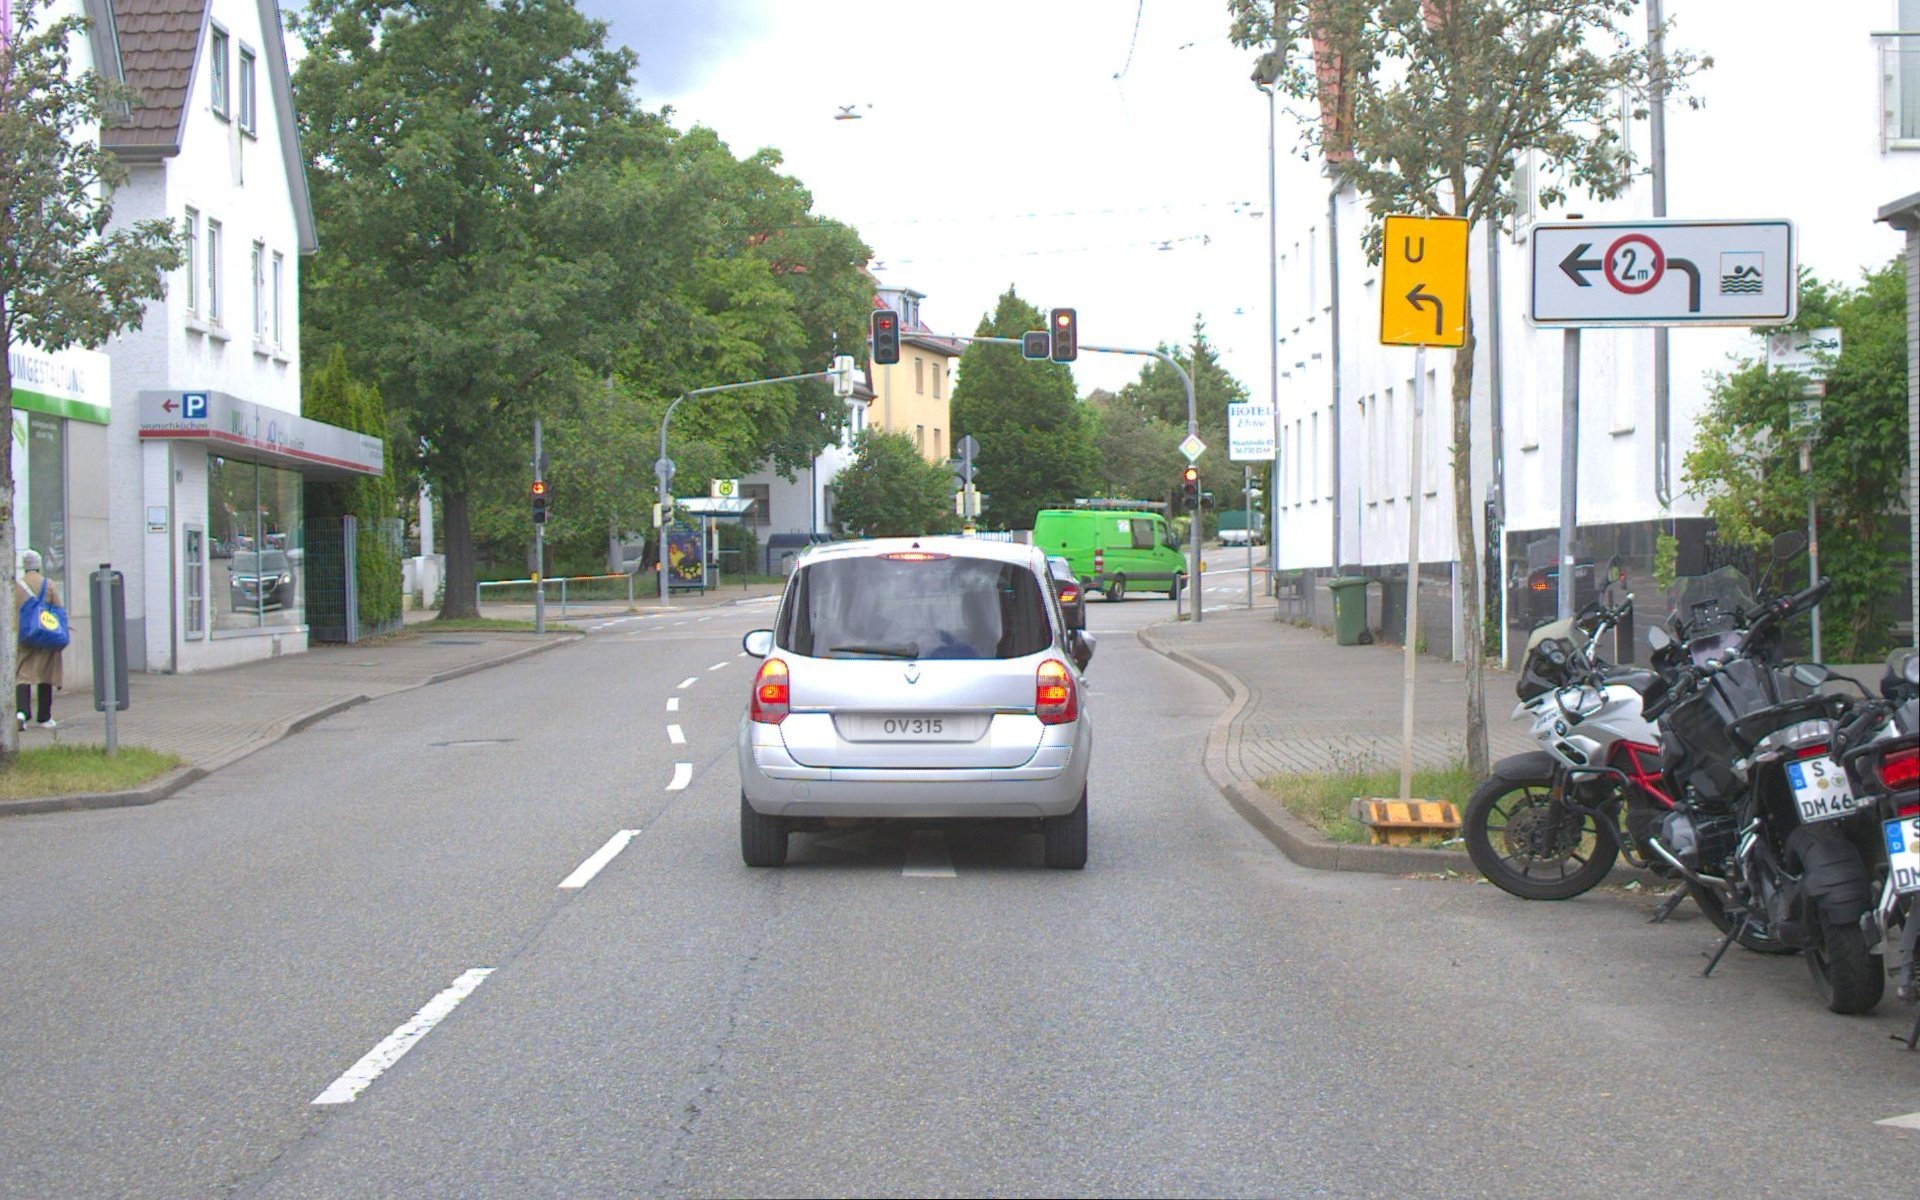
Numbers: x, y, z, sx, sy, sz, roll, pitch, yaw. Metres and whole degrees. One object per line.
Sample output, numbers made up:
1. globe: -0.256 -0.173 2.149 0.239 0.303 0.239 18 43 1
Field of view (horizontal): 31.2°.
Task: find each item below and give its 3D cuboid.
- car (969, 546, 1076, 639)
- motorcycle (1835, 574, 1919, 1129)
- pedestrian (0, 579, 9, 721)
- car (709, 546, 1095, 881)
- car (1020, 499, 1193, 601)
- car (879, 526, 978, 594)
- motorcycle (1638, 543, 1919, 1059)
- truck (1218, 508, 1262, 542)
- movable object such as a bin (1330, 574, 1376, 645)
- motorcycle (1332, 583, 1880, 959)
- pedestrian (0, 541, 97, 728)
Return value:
1. car: 1.062 -0.138 58.335 1.755 1.525 3.797 0 1 1
2. motorcycle: 3.006 0.648 10.085 0.648 1.435 2.467 0 1 19
3. pedestrian: -8.919 0.451 30.789 0.599 1.275 0.655 1 1 1
4. car: -0.235 0.494 17.641 1.755 1.525 4.000 0 1 1
5. car: 3.759 -1.252 87.147 2.062 2.503 5.586 0 1 29
6. car: -0.877 -1.180 99.281 1.927 1.767 3.998 -5 0 12
7. motorcycle: 2.696 0.576 11.433 0.671 1.519 2.597 0 1 7
8. truck: 17.208 -4.581 211.037 2.102 2.007 5.745 0 1 11
9. movable object such as a bin: 5.393 0.133 47.158 0.540 0.938 0.487 -3 0 2
10. motorcycle: 2.547 0.627 13.837 0.773 1.377 2.243 0 1 -37
11. pedestrian: -8.175 0.298 30.541 0.751 1.611 0.793 2 1 1
